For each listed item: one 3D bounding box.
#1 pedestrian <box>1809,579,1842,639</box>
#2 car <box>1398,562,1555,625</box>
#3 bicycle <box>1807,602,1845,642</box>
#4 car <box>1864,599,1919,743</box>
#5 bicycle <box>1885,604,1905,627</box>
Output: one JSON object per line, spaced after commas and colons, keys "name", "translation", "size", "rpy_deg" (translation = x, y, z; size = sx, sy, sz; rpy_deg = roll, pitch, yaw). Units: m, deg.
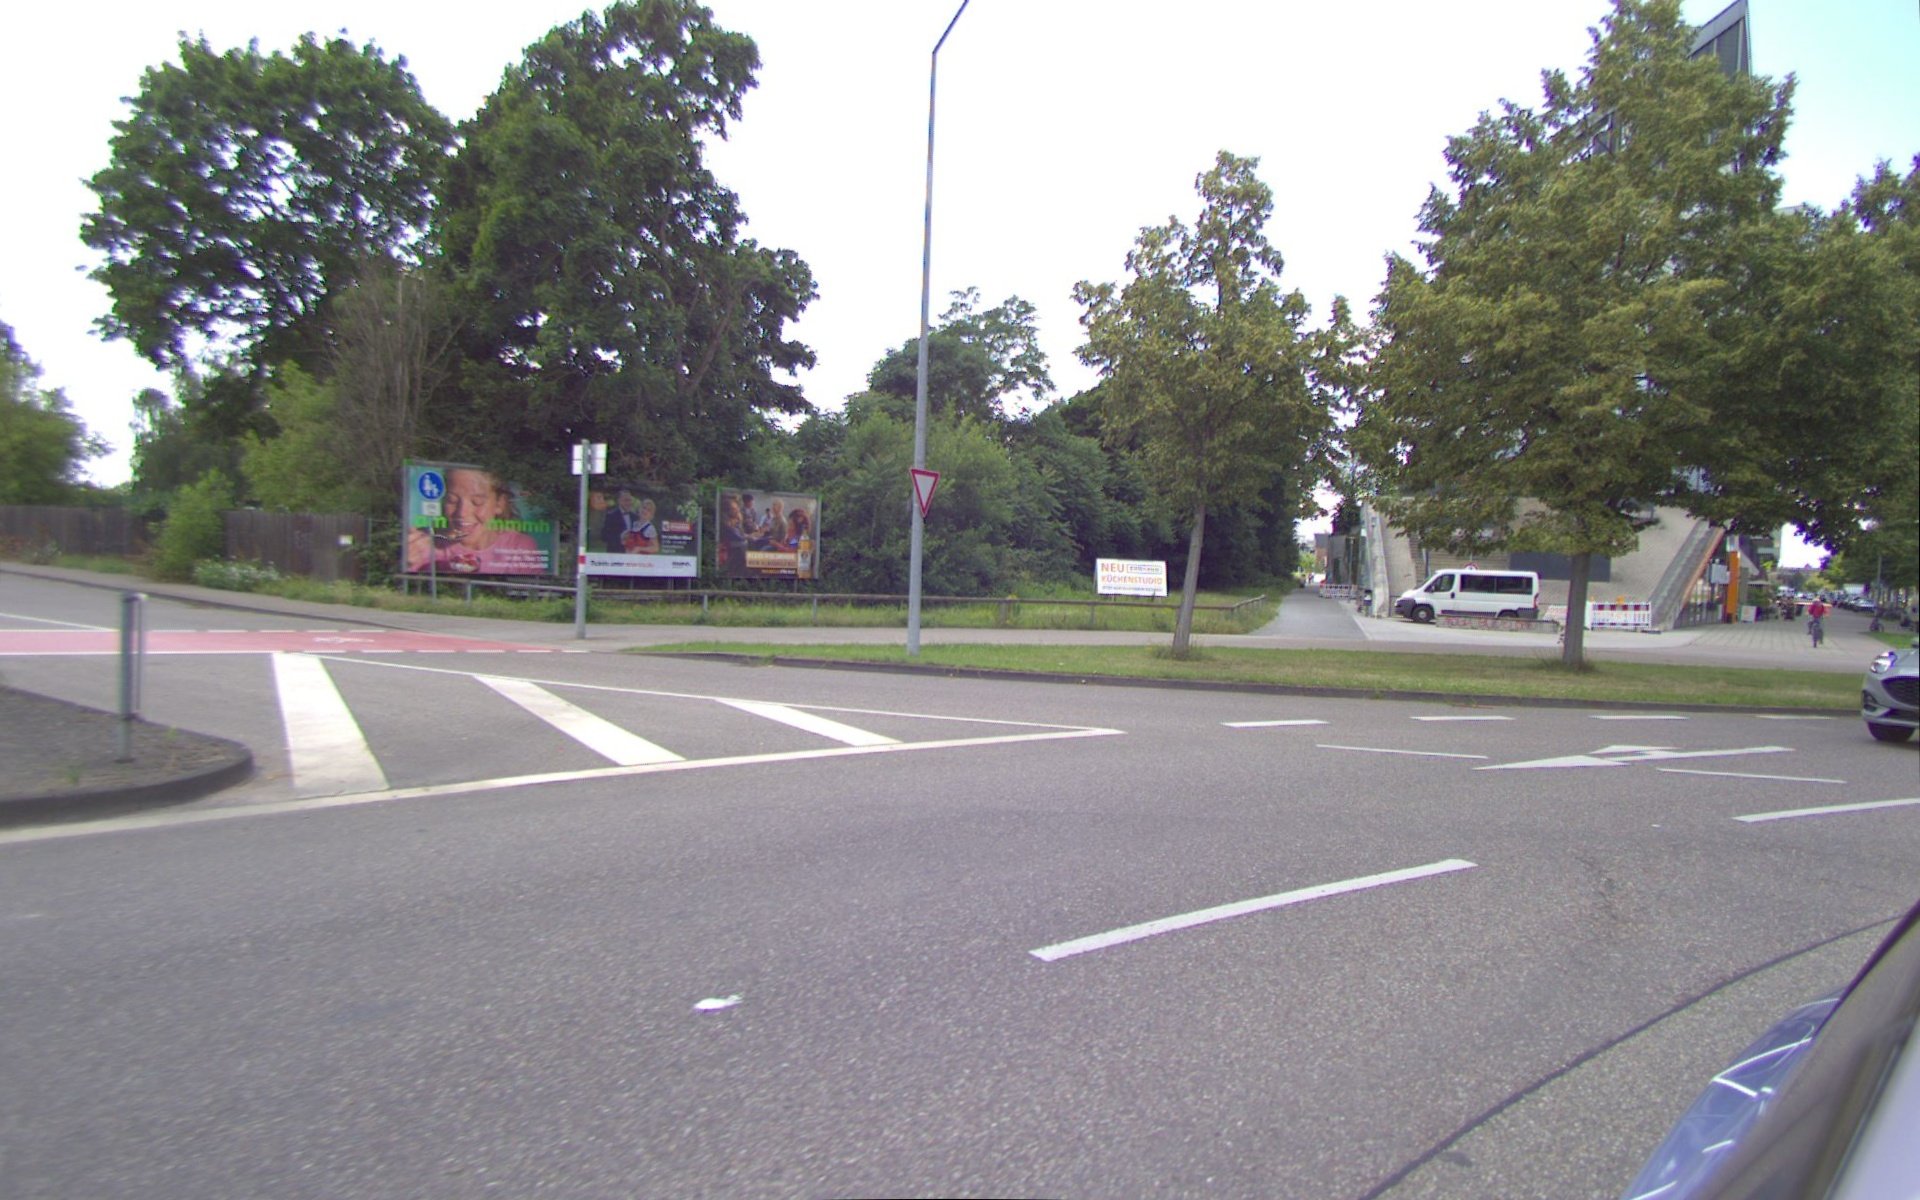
{"name": "pedestrian", "translation": [29.901, 0.289, 34.976], "size": [0.751, 2.038, 1.215], "rpy_deg": [3, 2, 38]}
{"name": "car", "translation": [19.914, -0.292, 39.303], "size": [5.090, 2.174, 2.135], "rpy_deg": [3, 2, 21]}
{"name": "bicycle", "translation": [29.755, 0.744, 34.798], "size": [0.808, 1.260, 2.378], "rpy_deg": [3, 1, 38]}
{"name": "car", "translation": [12.055, 0.805, 10.984], "size": [4.006, 1.489, 1.679], "rpy_deg": [1, 2, -22]}
{"name": "bicycle", "translation": [47.757, 0.786, 51.699], "size": [0.513, 1.101, 1.726], "rpy_deg": [4, 3, 36]}
